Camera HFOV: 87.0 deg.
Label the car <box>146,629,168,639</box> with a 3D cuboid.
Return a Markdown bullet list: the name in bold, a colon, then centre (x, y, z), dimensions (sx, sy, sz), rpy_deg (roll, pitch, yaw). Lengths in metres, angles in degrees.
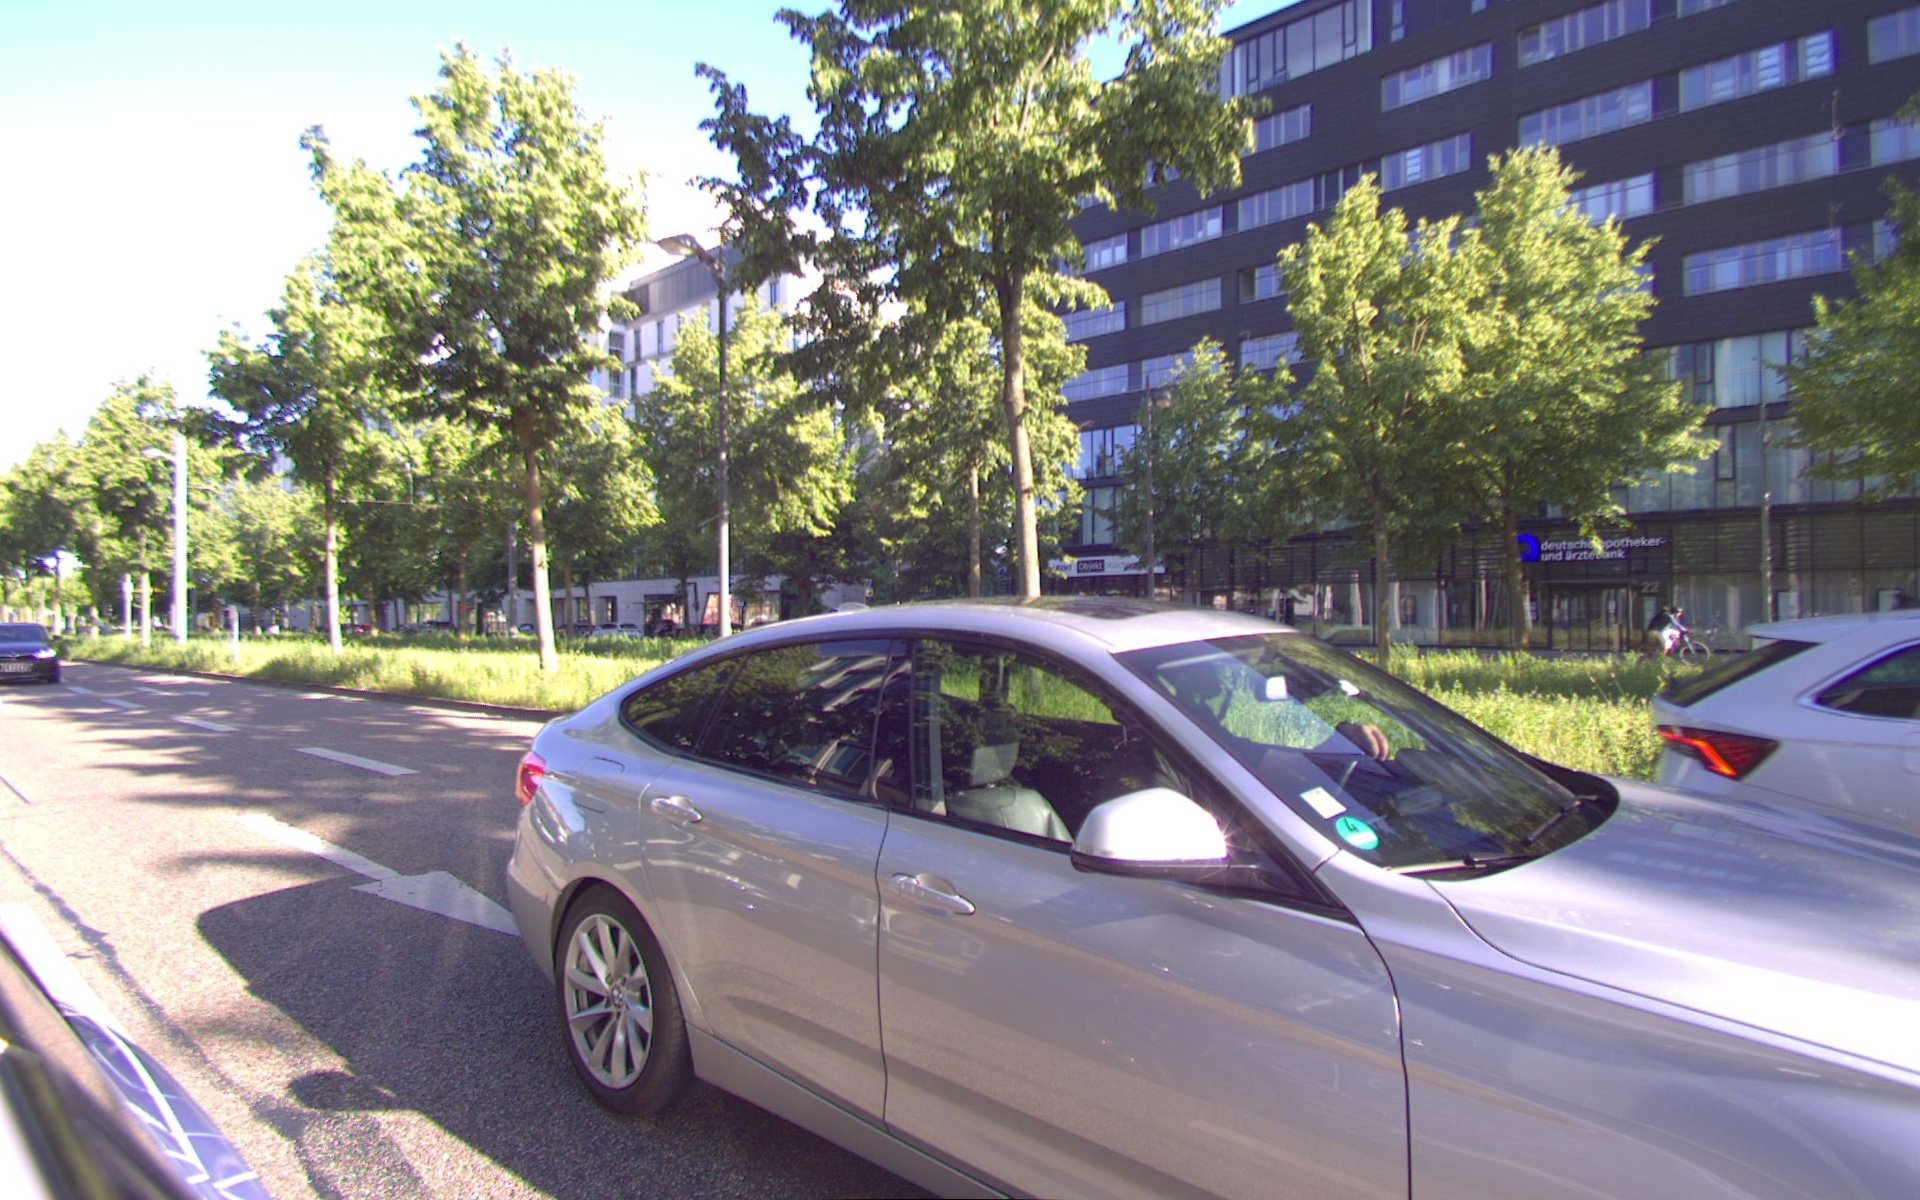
- **car**: centre (-114.612, 4.831, 144.502), dimensions (4.001, 1.406, 1.971), rpy_deg (-2, -2, 44)

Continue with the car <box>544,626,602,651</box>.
- **car**: centre (-25.690, 2.532, 67.057), dimensions (4.182, 1.609, 1.859), rpy_deg (-2, -1, 41)

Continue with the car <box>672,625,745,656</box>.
- **car**: centre (-14.007, 2.214, 56.237), dimensions (4.182, 1.609, 1.926), rpy_deg (-2, -1, 41)

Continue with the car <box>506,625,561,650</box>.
- **car**: centre (-29.718, 2.598, 70.469), dimensions (4.182, 1.609, 1.859), rpy_deg (-2, -1, 41)

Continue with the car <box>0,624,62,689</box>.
- **car**: centre (-23.828, 1.373, 25.100), dimensions (3.998, 1.502, 1.837), rpy_deg (-1, -1, 41)

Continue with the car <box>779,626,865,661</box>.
- **car**: centre (-6.758, 2.081, 49.389), dimensions (4.182, 1.609, 1.926), rpy_deg (-2, -1, 41)

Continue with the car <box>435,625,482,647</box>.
- **car**: centre (-38.659, 2.745, 77.976), dimensions (4.182, 1.609, 1.859), rpy_deg (-2, -1, 41)

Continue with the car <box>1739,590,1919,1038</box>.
- **car**: centre (5.082, 0.668, 2.773), dimensions (4.566, 1.458, 1.780), rpy_deg (-1, -1, 41)

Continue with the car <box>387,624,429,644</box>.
- **car**: centre (-46.576, 2.861, 85.379), dimensions (4.182, 1.609, 1.859), rpy_deg (-2, -1, 41)

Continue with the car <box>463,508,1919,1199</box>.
- **car**: centre (0.666, 0.679, 2.551), dimensions (4.558, 1.495, 1.800), rpy_deg (-1, -1, 40)

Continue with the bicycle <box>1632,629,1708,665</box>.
- **bicycle**: centre (20.826, 1.363, 29.709), dimensions (1.755, 1.043, 0.472), rpy_deg (-1, -2, 41)

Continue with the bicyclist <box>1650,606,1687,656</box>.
- **bicyclist**: centre (20.808, 0.906, 29.731), dimensions (0.820, 1.435, 0.472), rpy_deg (-2, -2, 41)

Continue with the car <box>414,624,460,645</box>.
- **car**: centre (-42.121, 2.791, 81.483), dimensions (4.182, 1.609, 1.859), rpy_deg (-2, -1, 41)

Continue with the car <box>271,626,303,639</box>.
- **car**: centre (-72.520, 3.511, 109.067), dimensions (3.998, 1.406, 1.972), rpy_deg (-2, -2, 41)

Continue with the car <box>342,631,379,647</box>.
- **car**: centre (-54.615, 3.529, 92.162), dimensions (4.001, 1.406, 1.971), rpy_deg (-2, -2, 44)

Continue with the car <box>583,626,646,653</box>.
- **car**: centre (-21.592, 2.471, 63.169), dimensions (4.182, 1.609, 1.859), rpy_deg (-2, -1, 41)
